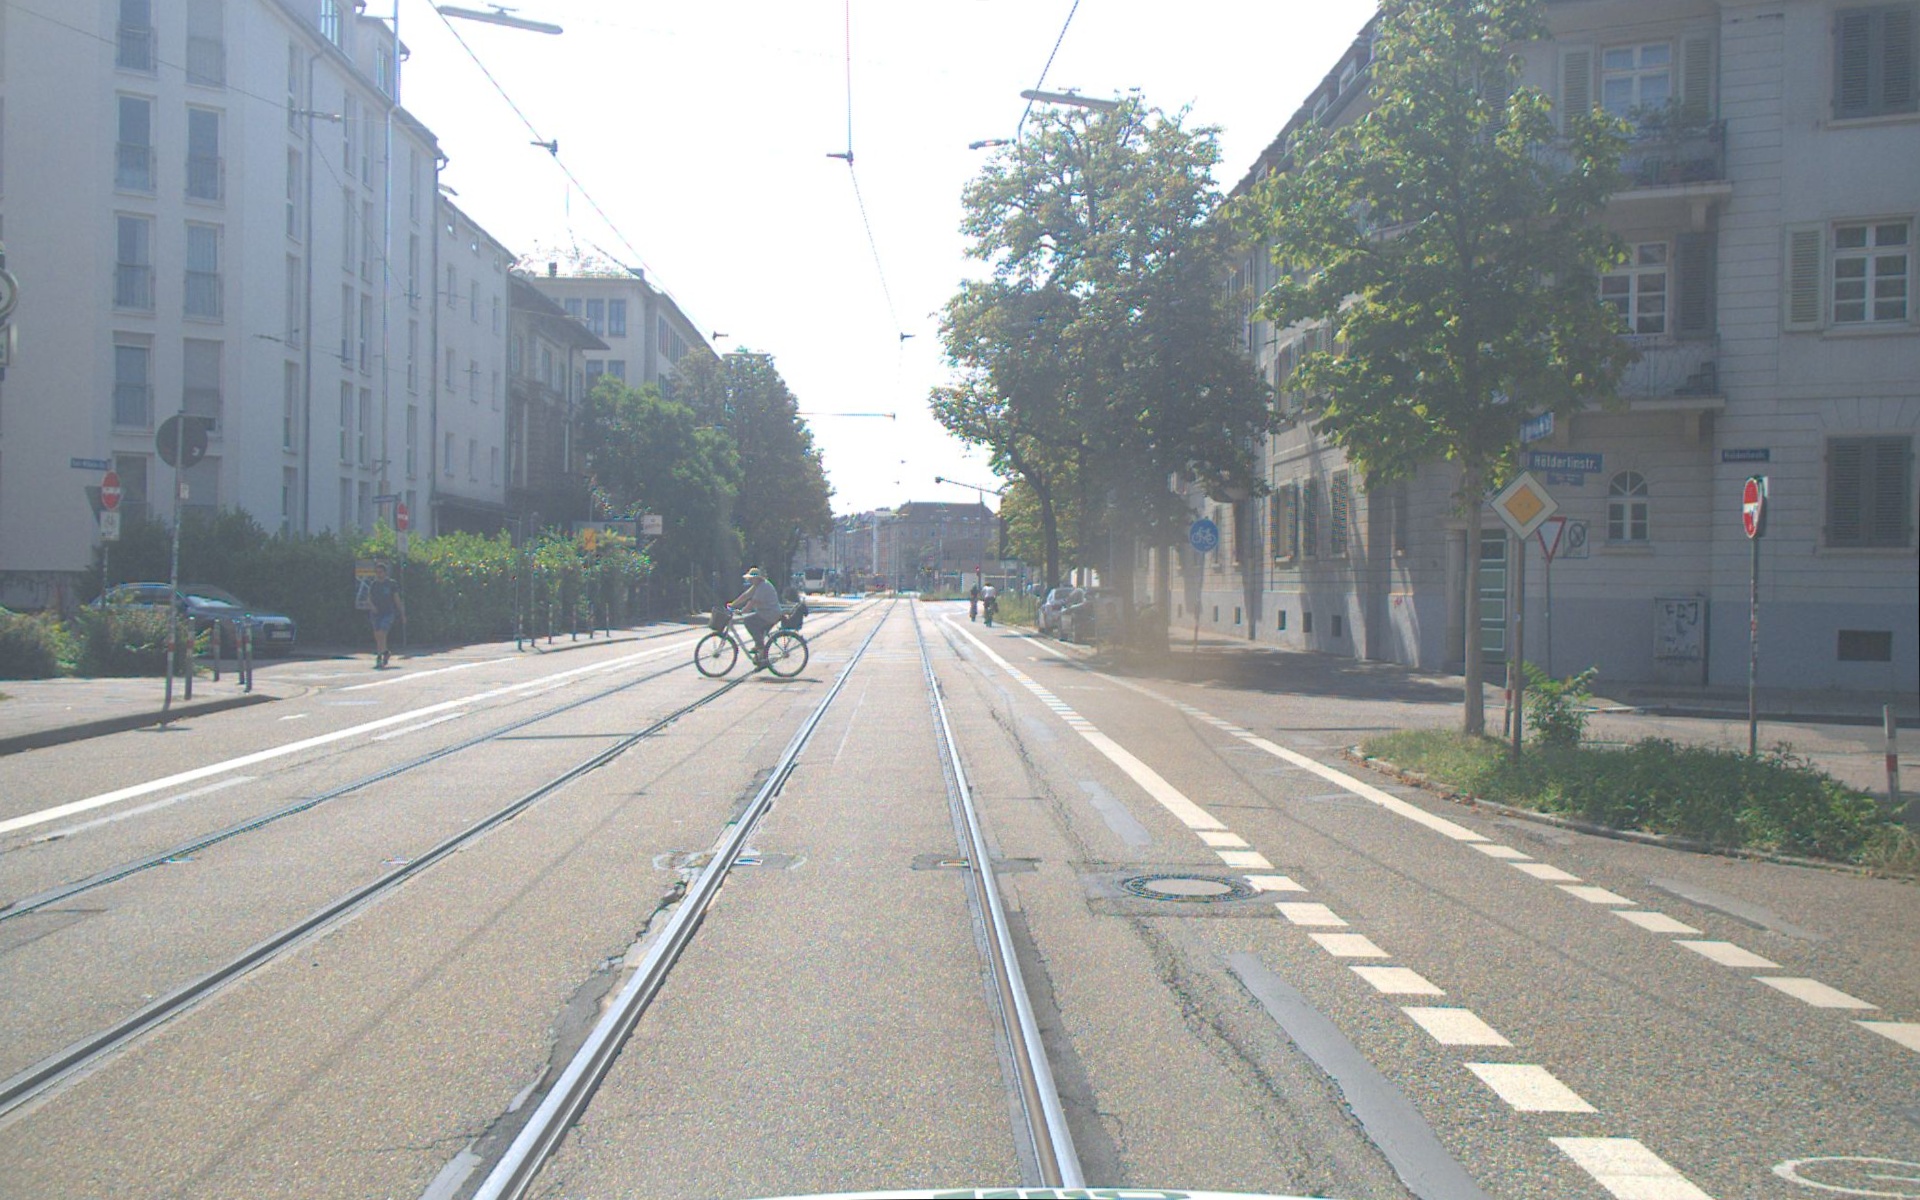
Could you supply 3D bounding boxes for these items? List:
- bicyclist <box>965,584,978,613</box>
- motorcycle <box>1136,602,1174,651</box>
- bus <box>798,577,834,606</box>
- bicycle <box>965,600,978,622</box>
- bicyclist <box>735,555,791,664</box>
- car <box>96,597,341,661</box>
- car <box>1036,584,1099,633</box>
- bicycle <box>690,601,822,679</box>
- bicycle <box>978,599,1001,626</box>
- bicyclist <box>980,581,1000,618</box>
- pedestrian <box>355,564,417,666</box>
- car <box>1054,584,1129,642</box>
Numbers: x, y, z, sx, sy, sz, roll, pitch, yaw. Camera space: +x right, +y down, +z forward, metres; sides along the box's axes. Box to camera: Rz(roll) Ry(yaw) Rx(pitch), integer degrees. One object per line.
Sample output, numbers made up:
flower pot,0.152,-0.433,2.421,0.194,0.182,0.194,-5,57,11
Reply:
bicyclist,0.530,-0.060,75.870,0.567,1.301,0.471,1,0,0
motorcycle,4.436,0.587,37.741,0.538,1.086,2.329,1,0,-2
bus,-17.582,-1.050,202.806,3.660,3.423,15.112,1,0,-2
bicycle,0.528,0.491,75.964,0.576,0.955,2.172,1,0,0
bicyclist,-3.094,0.140,25.897,0.808,1.671,0.783,1,0,-10
car,-14.626,0.562,32.670,4.141,1.205,2.001,0,0,18
car,3.363,0.269,52.287,1.552,1.490,3.464,1,-1,-4
bicycle,-3.202,0.620,25.878,1.998,1.171,0.783,1,0,-11
bicycle,1.129,0.471,63.269,0.743,1.008,2.297,1,0,-2
bicyclist,1.139,-0.026,63.051,0.743,1.416,0.779,1,0,-2
pedestrian,-10.300,0.263,29.693,0.764,1.787,1.040,0,0,-2
car,3.527,0.352,44.840,1.552,1.490,3.413,1,-1,-4
